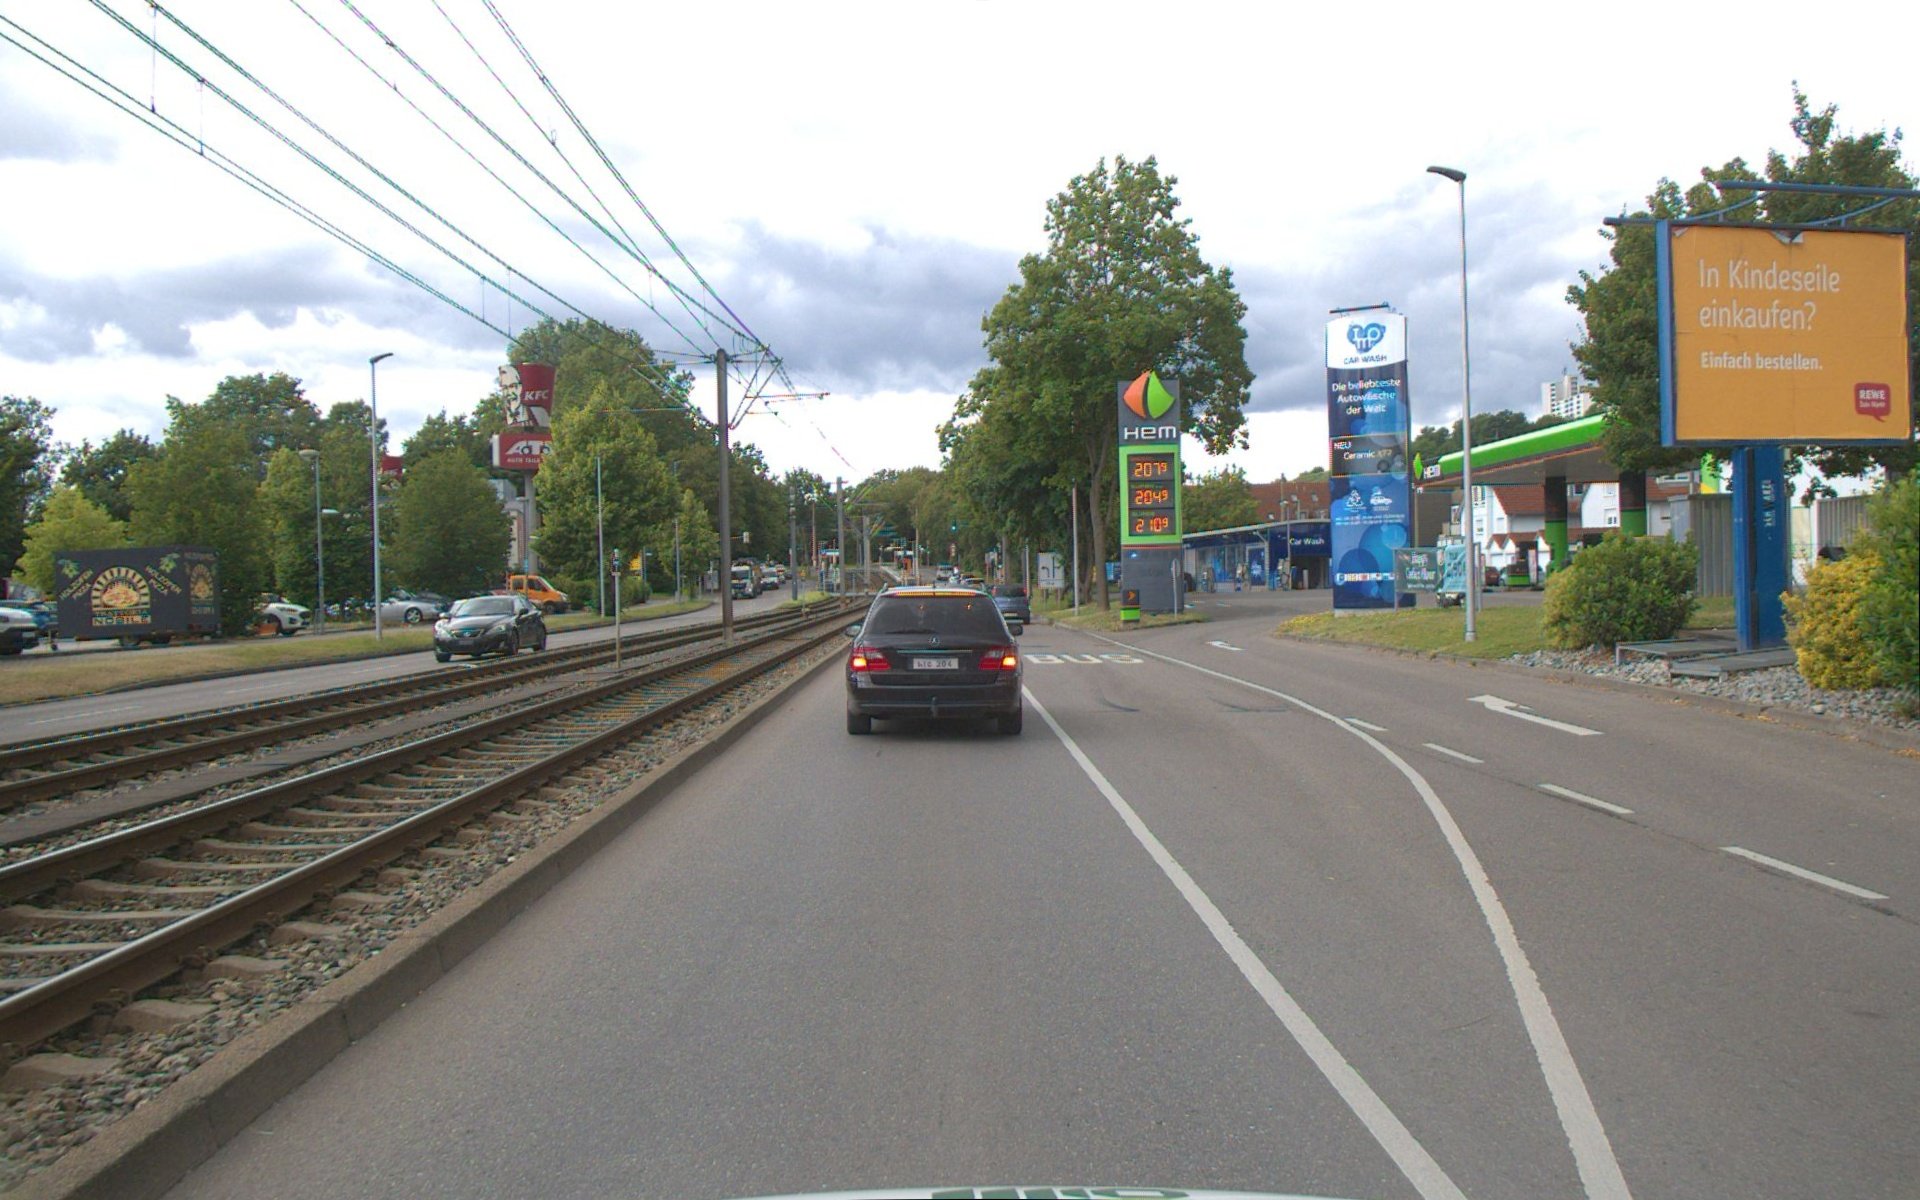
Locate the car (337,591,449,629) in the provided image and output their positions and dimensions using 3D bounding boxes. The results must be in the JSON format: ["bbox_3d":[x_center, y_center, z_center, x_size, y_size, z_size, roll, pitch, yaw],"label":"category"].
[{"bbox_3d":[-24.249,0.410,70.819,4.221,1.497,1.679,-1,1,-3],"label":"car"}]

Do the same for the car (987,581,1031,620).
[{"bbox_3d":[1.860,0.005,63.434,1.539,1.439,3.353,1,0,-1],"label":"car"}]

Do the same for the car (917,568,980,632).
[{"bbox_3d":[-0.362,-0.005,48.541,1.744,1.781,3.717,1,0,-1],"label":"car"}]

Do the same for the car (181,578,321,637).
[{"bbox_3d":[-24.025,0.240,56.140,3.910,1.828,1.876,-2,1,-6],"label":"car"}]

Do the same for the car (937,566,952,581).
[{"bbox_3d":[-2.039,-3.473,214.601,1.953,1.870,3.999,0,0,-1],"label":"car"}]

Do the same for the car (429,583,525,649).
[{"bbox_3d":[-14.102,0.439,48.505,1.756,1.802,3.998,-1,1,-3],"label":"car"}]

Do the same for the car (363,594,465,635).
[{"bbox_3d":[-24.199,0.630,73.453,3.910,1.663,1.876,-2,1,-6],"label":"car"}]

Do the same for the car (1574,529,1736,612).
[{"bbox_3d":[16.001,-0.638,38.332,1.784,1.704,4.336,-3,0,-1],"label":"car"}]

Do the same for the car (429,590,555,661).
[{"bbox_3d":[-10.816,0.540,38.538,1.724,1.425,4.442,-4,1,-2],"label":"car"}]

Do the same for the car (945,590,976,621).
[{"bbox_3d":[0.006,0.234,79.115,1.436,1.439,3.353,1,0,-1],"label":"car"}]

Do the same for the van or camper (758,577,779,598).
[{"bbox_3d":[-22.502,-1.501,194.636,1.954,2.395,5.763,-2,1,-3],"label":"van or camper"}]

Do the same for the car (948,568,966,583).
[{"bbox_3d":[-0.339,-2.856,192.313,1.953,1.744,3.999,-1,1,-1],"label":"car"}]

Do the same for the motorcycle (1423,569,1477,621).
[{"bbox_3d":[13.357,-0.137,45.160,0.838,1.354,1.989,-2,1,-1],"label":"motorcycle"}]

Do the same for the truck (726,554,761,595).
[{"bbox_3d":[-21.103,-2.461,161.699,2.653,3.727,11.104,-2,1,-4],"label":"truck"}]

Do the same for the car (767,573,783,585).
[{"bbox_3d":[-24.530,-2.786,219.578,1.729,1.676,3.770,0,0,-1],"label":"car"}]

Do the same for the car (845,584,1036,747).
[{"bbox_3d":[-0.214,0.587,17.290,1.772,1.500,3.880,0,1,-1],"label":"car"}]

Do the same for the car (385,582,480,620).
[{"bbox_3d":[-24.952,0.029,78.364,3.910,1.627,1.876,-2,1,-6],"label":"car"}]

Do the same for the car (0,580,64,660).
[{"bbox_3d":[-23.061,0.493,37.672,4.136,1.757,1.994,-2,1,-3],"label":"car"}]

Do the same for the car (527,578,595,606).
[{"bbox_3d":[-25.188,-0.493,104.619,3.910,1.627,1.794,-2,1,-6],"label":"car"}]

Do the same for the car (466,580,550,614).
[{"bbox_3d":[-23.575,-0.159,86.447,3.910,1.627,1.876,-2,1,-6],"label":"car"}]

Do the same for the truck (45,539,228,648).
[{"bbox_3d":[-23.225,-0.194,46.771,3.908,2.871,2.375,-2,1,-4],"label":"truck"}]

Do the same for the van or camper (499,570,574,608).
[{"bbox_3d":[-24.567,-0.624,96.060,3.910,2.172,1.876,0,1,-6],"label":"van or camper"}]

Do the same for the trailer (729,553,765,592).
[{"bbox_3d":[-21.457,-2.762,167.121,2.652,3.724,13.288,-2,1,-4],"label":"trailer"}]

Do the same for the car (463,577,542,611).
[{"bbox_3d":[-25.091,-0.355,90.796,3.910,1.829,1.876,0,1,-6],"label":"car"}]

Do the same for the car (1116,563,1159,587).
[{"bbox_3d":[13.381,-1.885,124.366,1.965,1.712,4.579,-1,1,23],"label":"car"}]

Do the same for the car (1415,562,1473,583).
[{"bbox_3d":[39.187,-2.215,133.915,4.132,1.713,1.776,0,0,-4],"label":"car"}]
